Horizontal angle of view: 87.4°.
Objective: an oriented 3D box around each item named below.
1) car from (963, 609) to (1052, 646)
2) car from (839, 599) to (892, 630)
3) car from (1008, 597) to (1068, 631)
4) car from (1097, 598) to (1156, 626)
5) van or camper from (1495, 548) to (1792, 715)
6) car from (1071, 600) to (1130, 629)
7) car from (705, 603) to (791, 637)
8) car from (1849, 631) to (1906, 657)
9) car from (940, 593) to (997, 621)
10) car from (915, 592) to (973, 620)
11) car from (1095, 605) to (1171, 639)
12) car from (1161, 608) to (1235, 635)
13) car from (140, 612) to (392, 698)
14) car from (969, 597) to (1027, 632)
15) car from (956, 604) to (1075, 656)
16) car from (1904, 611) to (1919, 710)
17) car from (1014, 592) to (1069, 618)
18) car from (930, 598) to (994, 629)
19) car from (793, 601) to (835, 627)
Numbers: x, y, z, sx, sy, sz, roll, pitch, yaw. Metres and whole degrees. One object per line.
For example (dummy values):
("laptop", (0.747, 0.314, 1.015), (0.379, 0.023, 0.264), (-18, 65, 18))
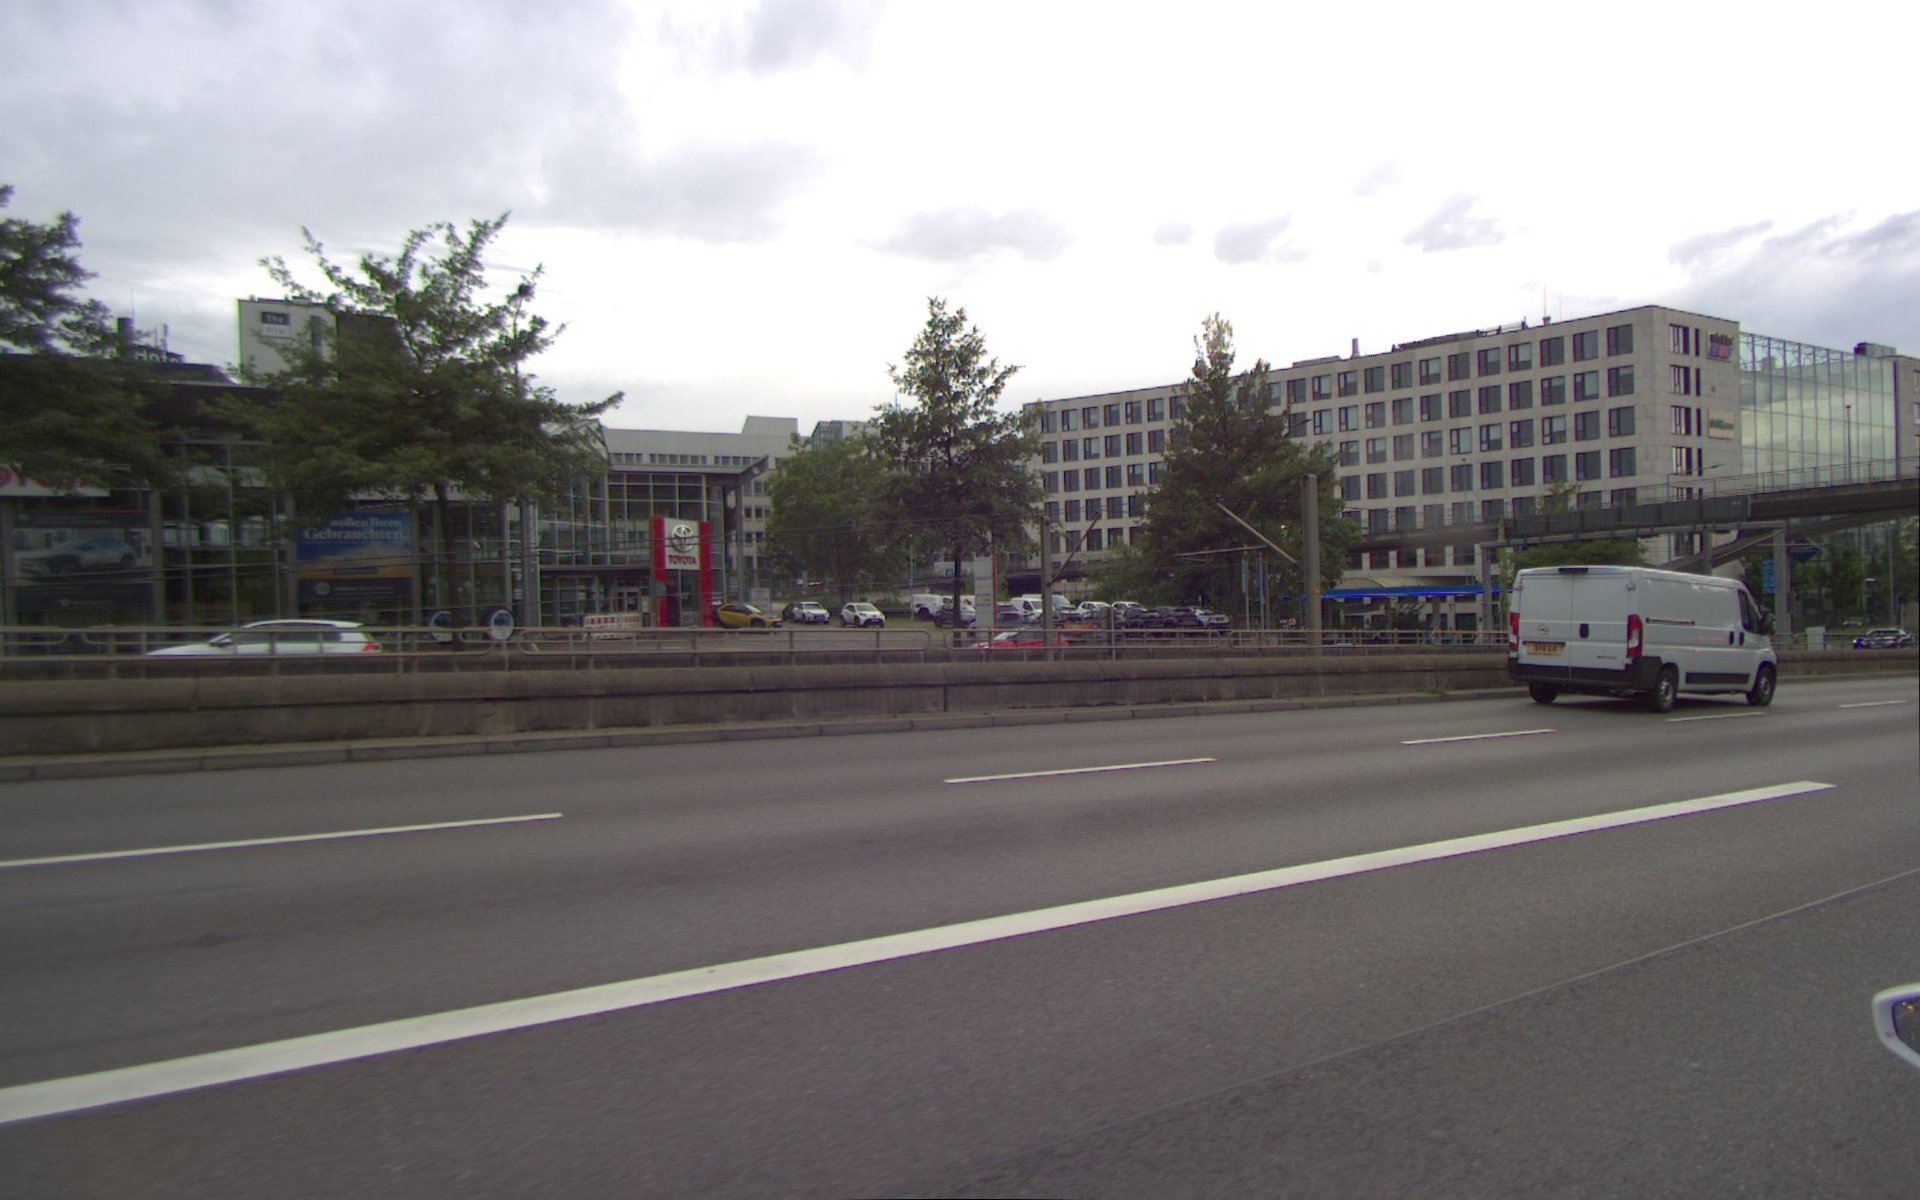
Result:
("car", (2.367, 1.347, 50.233), (3.929, 1.673, 1.996), (2, 1, 30))
("car", (-5.803, 0.872, 61.262), (1.973, 1.673, 3.975), (-2, 2, -25))
("car", (4.716, 0.827, 61.452), (1.973, 1.901, 3.975), (-2, 2, -25))
("car", (10.971, 0.748, 66.317), (1.973, 1.673, 3.975), (-2, 2, -25))
("van or camper", (11.788, 0.524, 17.216), (5.469, 2.471, 2.192), (1, -1, -32))
("car", (8.997, 0.873, 64.694), (1.973, 1.673, 3.975), (-2, 2, -25))
("car", (-11.086, 1.012, 52.563), (3.919, 1.673, 2.000), (0, 2, 15))
("car", (52.311, 2.485, 57.246), (3.438, 1.439, 1.510), (1, -1, -31))
("car", (0.518, 0.416, 65.817), (1.978, 1.673, 3.965), (-2, 2, -32))
("car", (-1.242, 0.451, 76.218), (3.922, 2.076, 1.999), (0, 2, 22))
("car", (9.194, 1.152, 53.661), (1.975, 1.673, 3.971), (1, 1, -28))
("car", (13.266, 1.168, 56.164), (1.826, 1.372, 3.971), (1, 1, -28))
("car", (-13.958, 1.099, 20.527), (3.949, 1.606, 1.986), (1, -2, -27))
("car", (2.265, 0.871, 61.004), (1.973, 2.040, 3.975), (1, -1, -25))
("car", (2.103, 1.103, 37.691), (4.057, 1.801, 1.982), (1, 1, -32))
("car", (18.299, 1.061, 17.446), (4.698, 1.639, 1.741), (2, -1, -33))
("car", (5.648, 0.321, 69.932), (1.801, 1.673, 3.963), (-2, 2, -33))
("car", (0.081, 0.751, 59.487), (1.978, 1.673, 3.965), (-2, 2, -32))
("car", (-10.375, 0.974, 71.163), (1.972, 1.673, 3.977), (-2, 2, -23))
